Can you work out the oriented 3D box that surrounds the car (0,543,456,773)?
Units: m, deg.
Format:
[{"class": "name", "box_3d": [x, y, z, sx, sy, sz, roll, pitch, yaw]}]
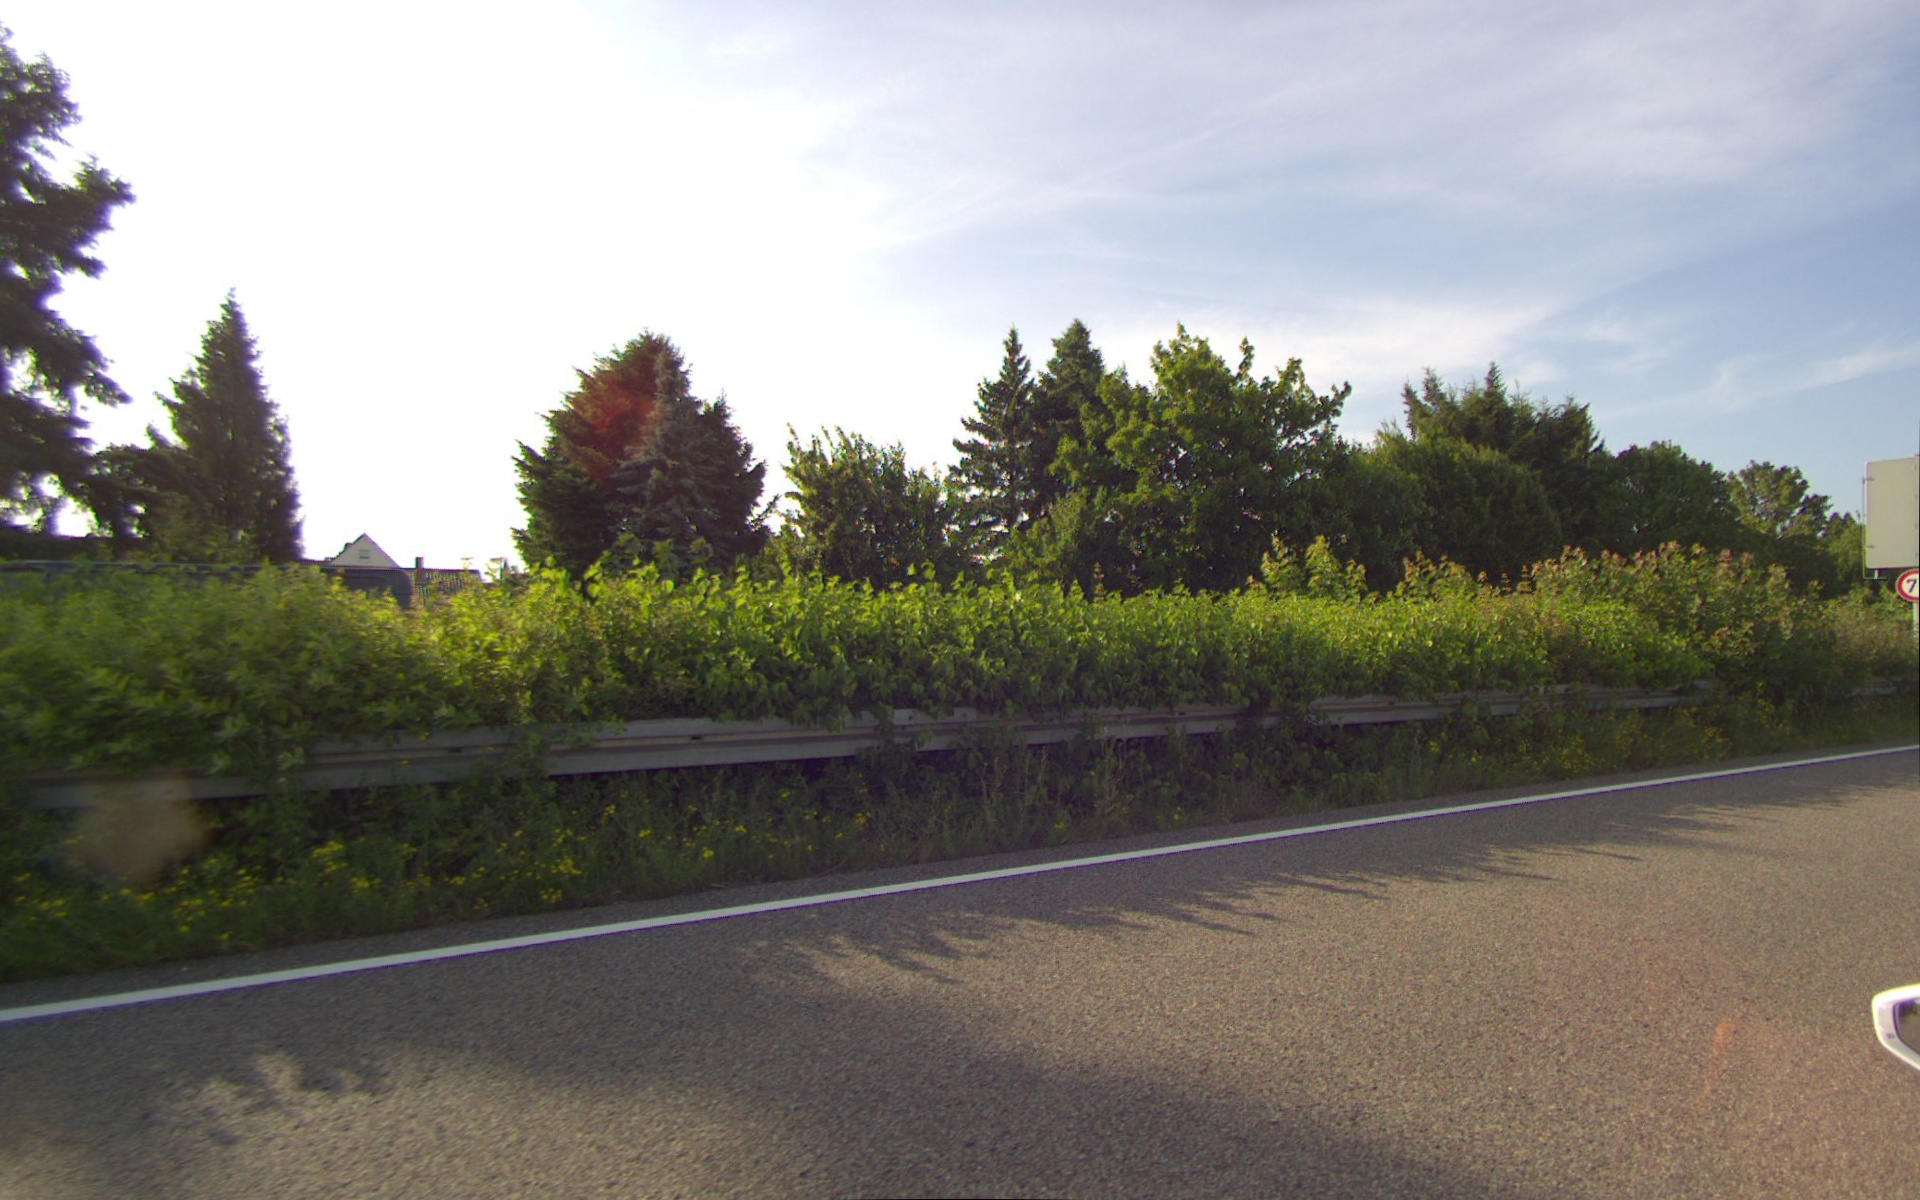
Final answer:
[{"class": "car", "box_3d": [-7.600, 0.542, 10.585, 3.954, 2.040, 1.984, 1, 0, -31]}]
